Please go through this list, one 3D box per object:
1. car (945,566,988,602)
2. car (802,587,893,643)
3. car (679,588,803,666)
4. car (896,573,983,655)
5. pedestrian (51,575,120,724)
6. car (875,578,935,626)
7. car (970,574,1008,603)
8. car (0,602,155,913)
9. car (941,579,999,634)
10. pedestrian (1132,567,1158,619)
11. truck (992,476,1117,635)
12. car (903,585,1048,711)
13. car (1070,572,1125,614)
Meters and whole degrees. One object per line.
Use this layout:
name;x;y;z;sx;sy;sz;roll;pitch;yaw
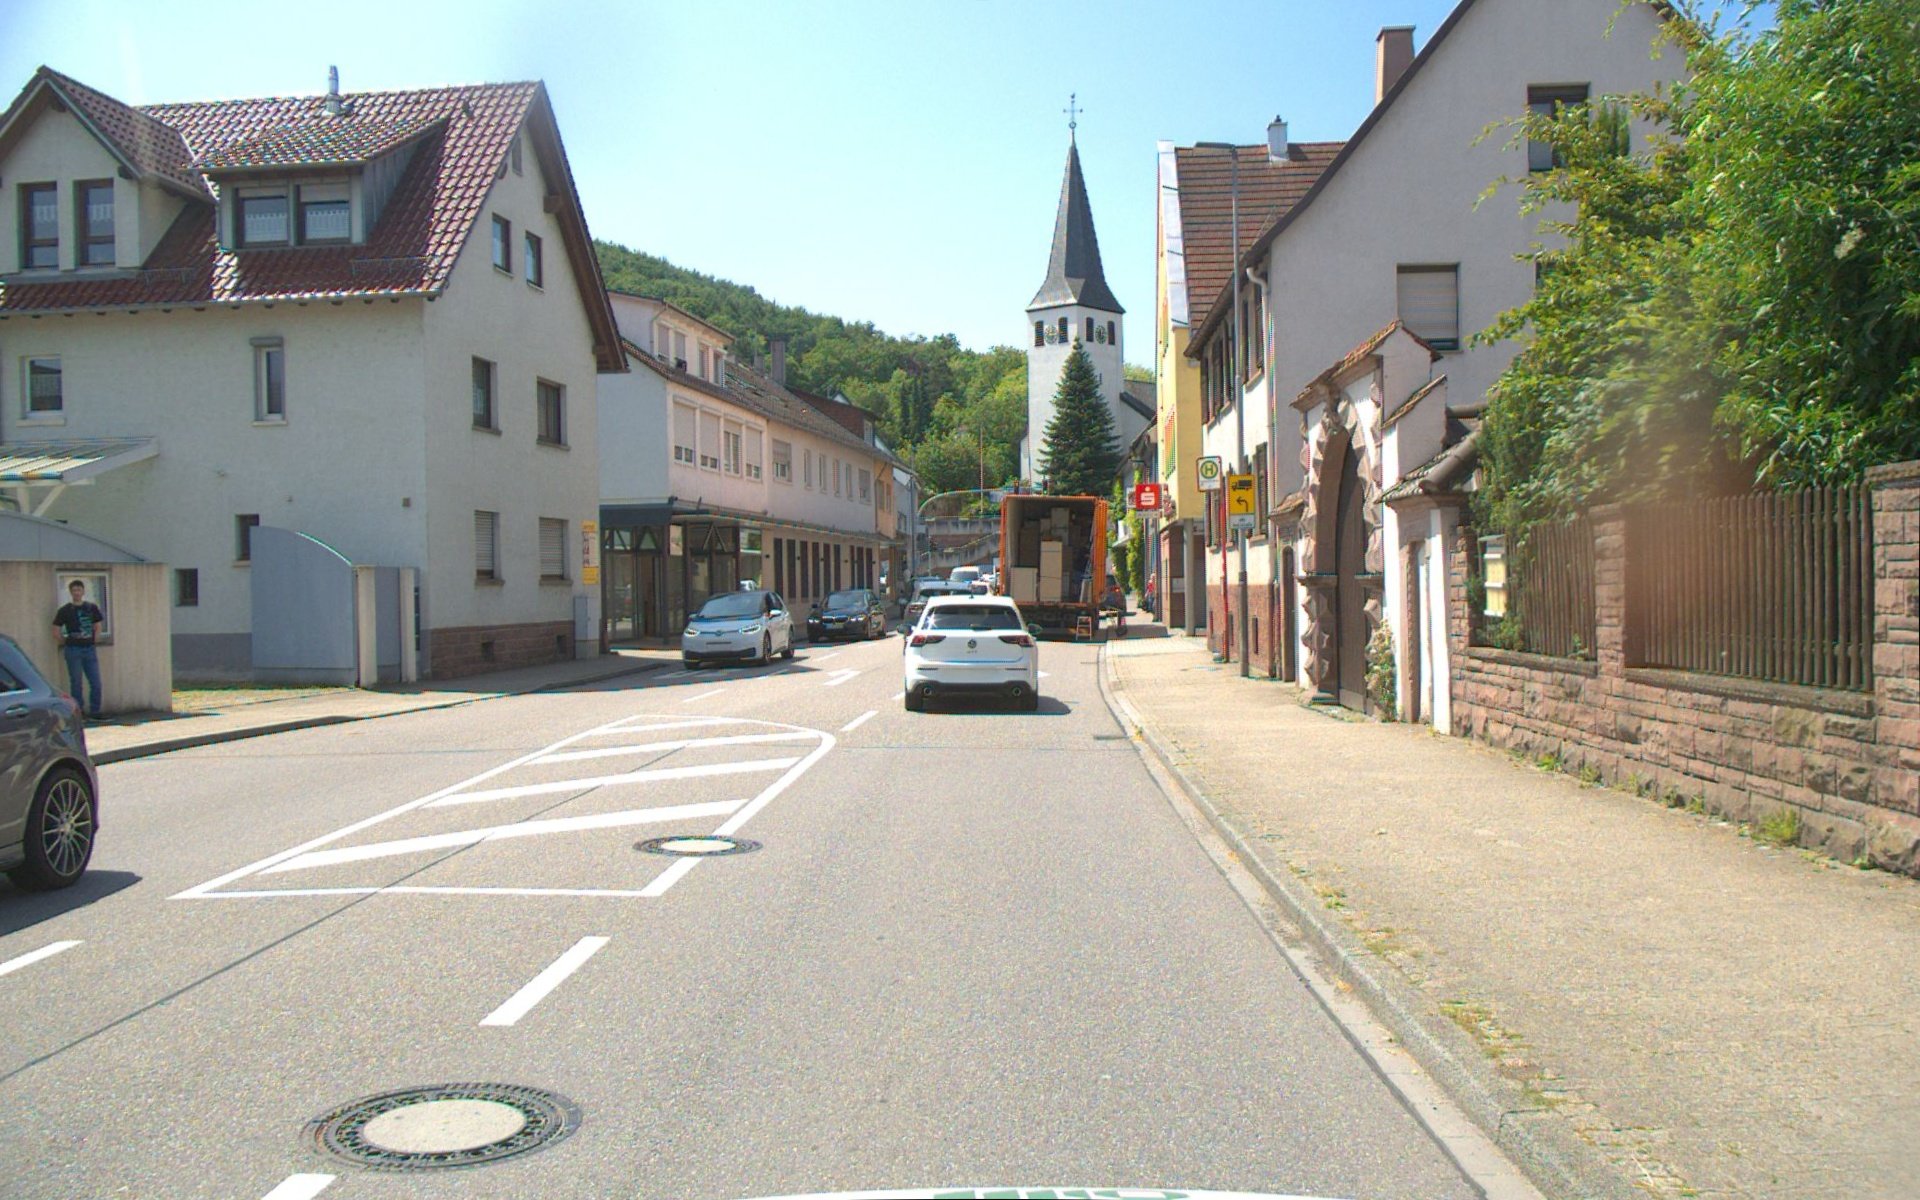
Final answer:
car;0.388;-0.869;88.142;1.763;1.810;4.708;-2;1;6
car;-3.253;0.414;48.723;1.755;1.519;4.425;-2;0;8
car;-4.662;0.554;35.745;1.758;1.534;4.136;-2;0;5
car;-0.415;0.294;36.834;1.778;1.657;4.000;-2;0;0
pedestrian;-10.687;0.595;20.221;0.425;1.795;0.557;-1;0;19
car;-2.197;0.054;67.389;1.655;1.728;4.116;-2;1;8
car;1.815;-0.705;102.101;1.951;1.680;4.003;-2;0;6
car;-5.471;0.776;7.182;1.825;1.467;4.217;-2;0;0
car;0.328;0.219;54.561;1.778;1.657;4.000;-2;0;0
pedestrian;6.434;-0.234;57.576;0.753;1.773;0.870;-2;-1;-1
truck;2.823;-1.198;50.175;3.297;4.243;9.522;-2;0;3
car;0.209;0.596;22.311;1.778;1.545;4.000;0;0;0
car;5.371;-0.266;64.980;1.778;1.545;4.000;-2;0;0
